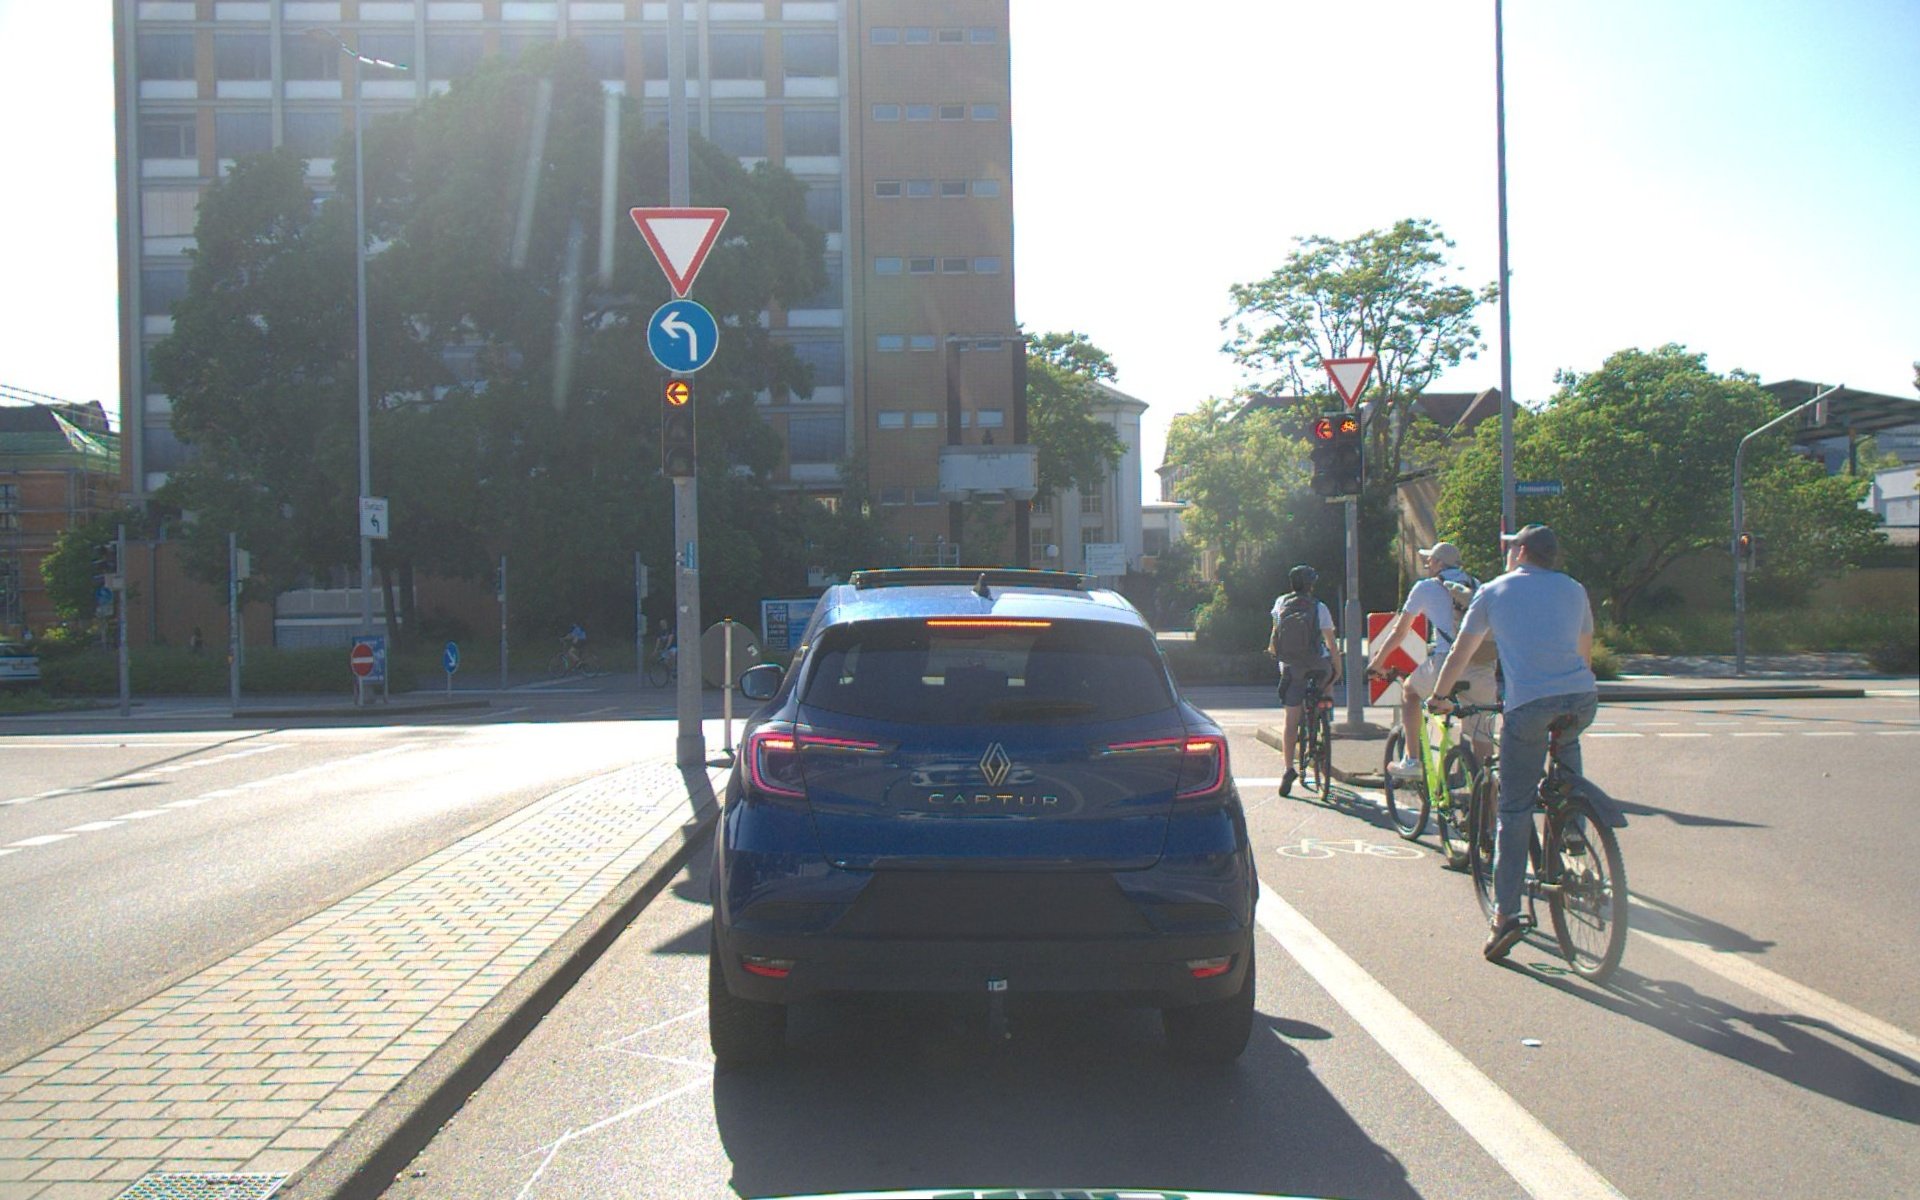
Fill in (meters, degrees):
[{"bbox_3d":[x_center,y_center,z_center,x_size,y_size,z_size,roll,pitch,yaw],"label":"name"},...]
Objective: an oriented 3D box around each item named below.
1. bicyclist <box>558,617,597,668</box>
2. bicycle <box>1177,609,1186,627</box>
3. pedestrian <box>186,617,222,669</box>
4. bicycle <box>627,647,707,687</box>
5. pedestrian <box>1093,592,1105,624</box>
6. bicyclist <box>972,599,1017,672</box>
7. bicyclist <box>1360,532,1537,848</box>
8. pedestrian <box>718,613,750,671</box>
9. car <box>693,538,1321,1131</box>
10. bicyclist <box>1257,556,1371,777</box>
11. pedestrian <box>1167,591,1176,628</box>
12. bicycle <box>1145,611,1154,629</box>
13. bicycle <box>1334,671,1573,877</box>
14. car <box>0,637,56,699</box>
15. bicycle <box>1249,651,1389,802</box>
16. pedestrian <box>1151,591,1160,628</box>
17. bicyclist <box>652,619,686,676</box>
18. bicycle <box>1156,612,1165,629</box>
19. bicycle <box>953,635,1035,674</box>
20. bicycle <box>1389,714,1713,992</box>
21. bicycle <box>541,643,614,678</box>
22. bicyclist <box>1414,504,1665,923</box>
[{"bbox_3d":[-11.067,1.230,47.834,0.917,1.454,0.599,-1,0,17],"label":"bicyclist"},{"bbox_3d":[12.677,1.033,94.585,0.397,0.990,1.684,1,0,3],"label":"bicycle"},{"bbox_3d":[-24.522,1.391,53.646,0.842,1.598,0.559,-4,0,22],"label":"pedestrian"},{"bbox_3d":[-7.722,1.764,43.614,1.982,0.981,0.593,-1,0,-28],"label":"bicycle"},{"bbox_3d":[8.343,0.459,99.097,0.611,1.888,0.563,-1,0,0],"label":"pedestrian"},{"bbox_3d":[0.911,0.935,43.817,1.078,1.900,0.653,-1,0,10],"label":"bicyclist"},{"bbox_3d":[2.881,0.509,9.837,0.633,1.769,1.065,1,0,-6],"label":"bicyclist"},{"bbox_3d":[-6.504,1.202,47.614,0.721,1.631,0.599,-1,0,12],"label":"pedestrian"},{"bbox_3d":[0.060,0.667,6.678,1.767,1.660,3.998,1,0,-3],"label":"car"},{"bbox_3d":[2.758,0.501,12.971,0.711,1.657,0.969,1,0,3],"label":"bicyclist"},{"bbox_3d":[11.824,0.540,92.559,0.465,2.049,0.468,-1,0,5],"label":"pedestrian"},{"bbox_3d":[10.791,1.146,94.219,0.397,0.990,1.684,1,0,3],"label":"bicycle"},{"bbox_3d":[2.869,0.977,9.841,0.646,1.020,1.967,1,0,-6],"label":"bicycle"},{"bbox_3d":[-28.240,1.913,46.929,4.723,1.660,1.845,-1,0,20],"label":"car"},{"bbox_3d":[2.760,0.936,12.920,0.723,1.012,2.174,1,0,3],"label":"bicycle"},{"bbox_3d":[10.793,0.517,91.192,0.465,2.049,0.523,-1,0,5],"label":"pedestrian"},{"bbox_3d":[-7.674,1.240,43.641,0.728,1.466,0.593,-1,0,-27],"label":"bicyclist"},{"bbox_3d":[11.401,1.156,94.185,0.397,0.990,1.684,1,0,3],"label":"bicycle"},{"bbox_3d":[0.900,1.441,43.682,2.037,0.946,0.697,-2,1,11],"label":"bicycle"},{"bbox_3d":[2.502,1.028,7.270,0.725,0.911,1.978,1,0,0],"label":"bicycle"},{"bbox_3d":[-11.055,1.743,47.828,2.032,0.981,0.599,-1,0,17],"label":"bicycle"},{"bbox_3d":[2.507,0.464,7.267,0.736,1.698,1.016,1,0,0],"label":"bicyclist"}]
